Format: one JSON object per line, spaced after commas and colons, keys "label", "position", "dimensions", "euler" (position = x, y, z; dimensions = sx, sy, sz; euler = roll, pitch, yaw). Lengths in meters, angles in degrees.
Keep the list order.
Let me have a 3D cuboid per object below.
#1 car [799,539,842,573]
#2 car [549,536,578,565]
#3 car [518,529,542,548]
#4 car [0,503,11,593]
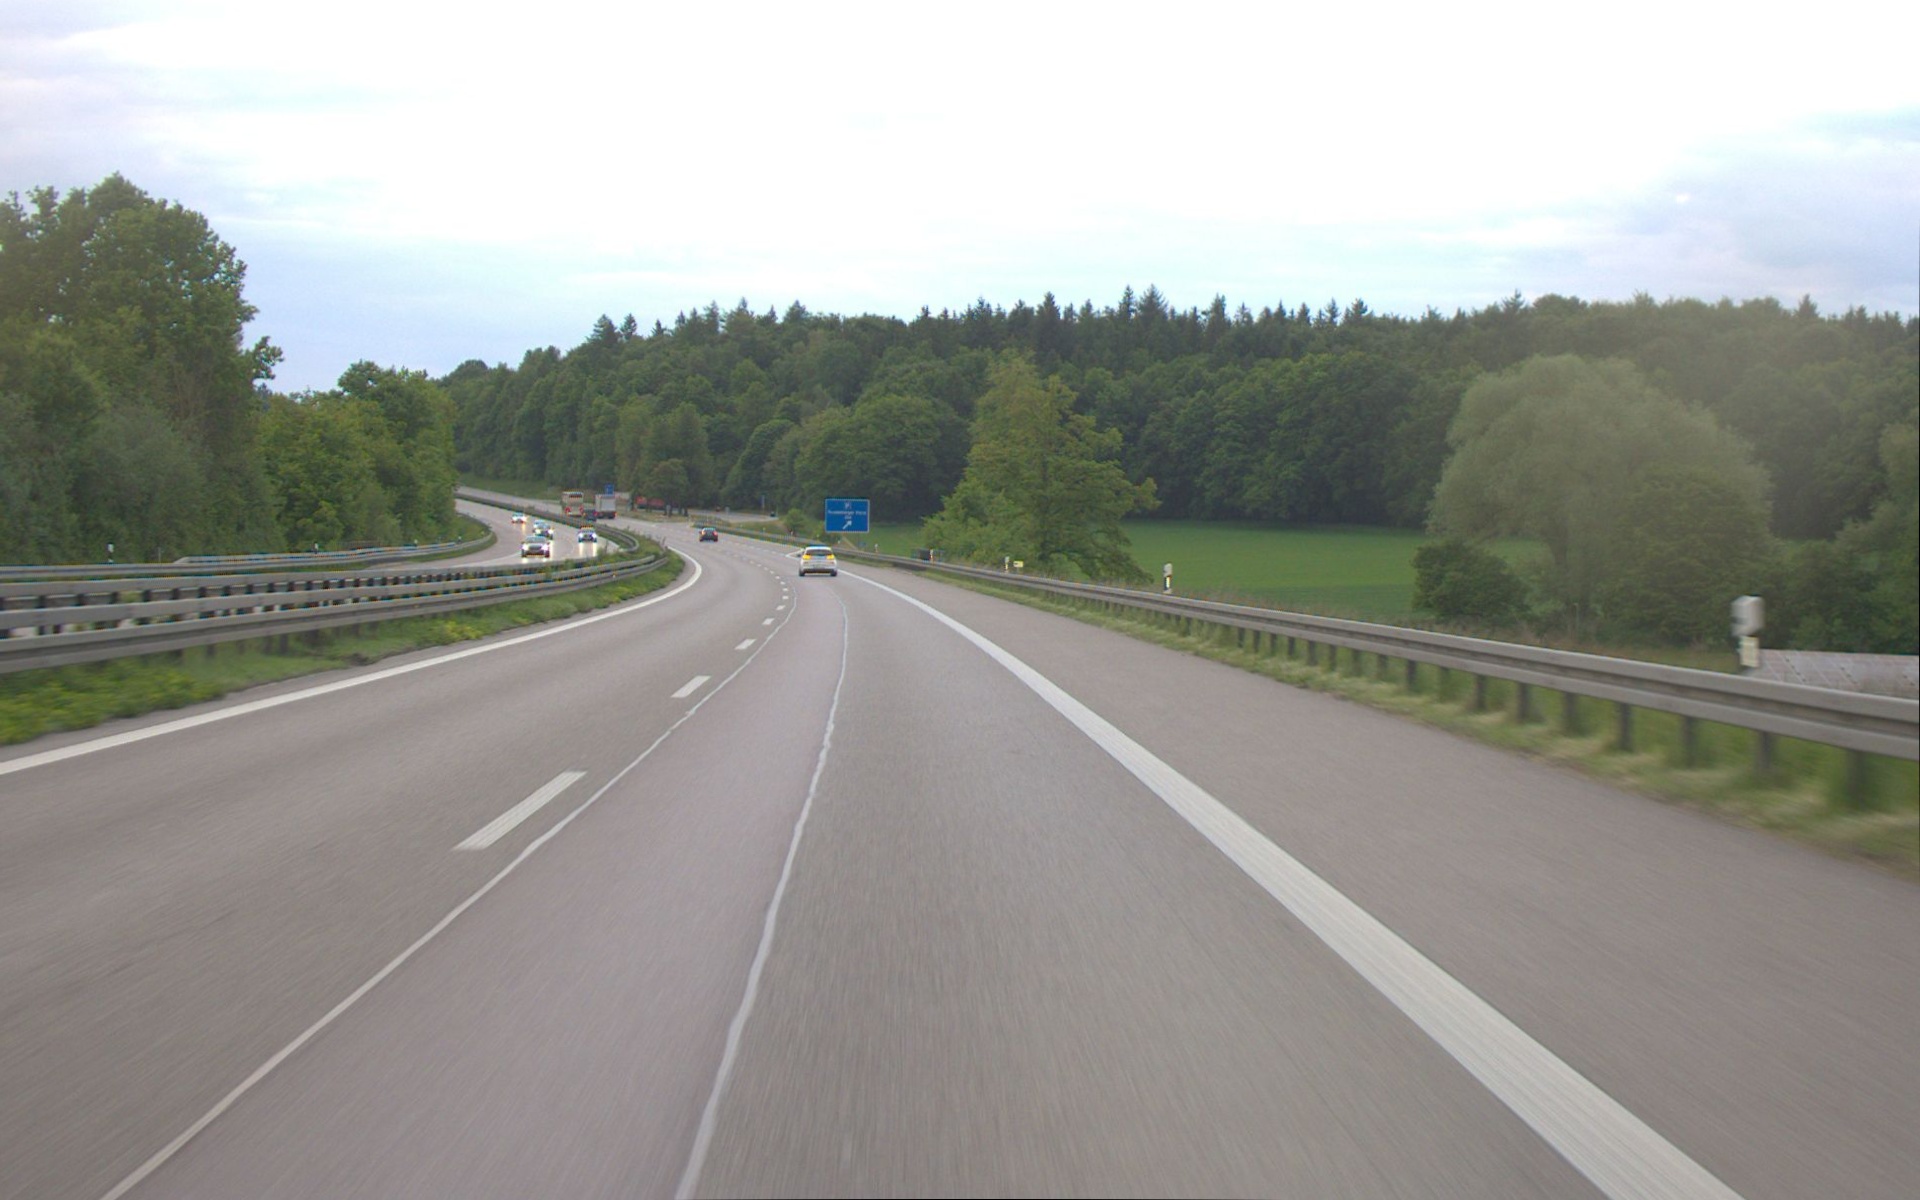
{"label": "car", "position": [-6.842, -2.171, 168.780], "dimensions": [1.951, 1.526, 4.081], "euler": [3, 2, -2]}
{"label": "car", "position": [-14.032, -1.758, 121.686], "dimensions": [0.841, 0.936, 1.764], "euler": [3, 1, -2]}
{"label": "car", "position": [-29.916, -4.290, 239.248], "dimensions": [1.383, 1.269, 2.749], "euler": [3, 2, -2]}
{"label": "car", "position": [-18.344, -0.933, 59.936], "dimensions": [1.993, 1.621, 5.736], "euler": [3, 2, -1]}
